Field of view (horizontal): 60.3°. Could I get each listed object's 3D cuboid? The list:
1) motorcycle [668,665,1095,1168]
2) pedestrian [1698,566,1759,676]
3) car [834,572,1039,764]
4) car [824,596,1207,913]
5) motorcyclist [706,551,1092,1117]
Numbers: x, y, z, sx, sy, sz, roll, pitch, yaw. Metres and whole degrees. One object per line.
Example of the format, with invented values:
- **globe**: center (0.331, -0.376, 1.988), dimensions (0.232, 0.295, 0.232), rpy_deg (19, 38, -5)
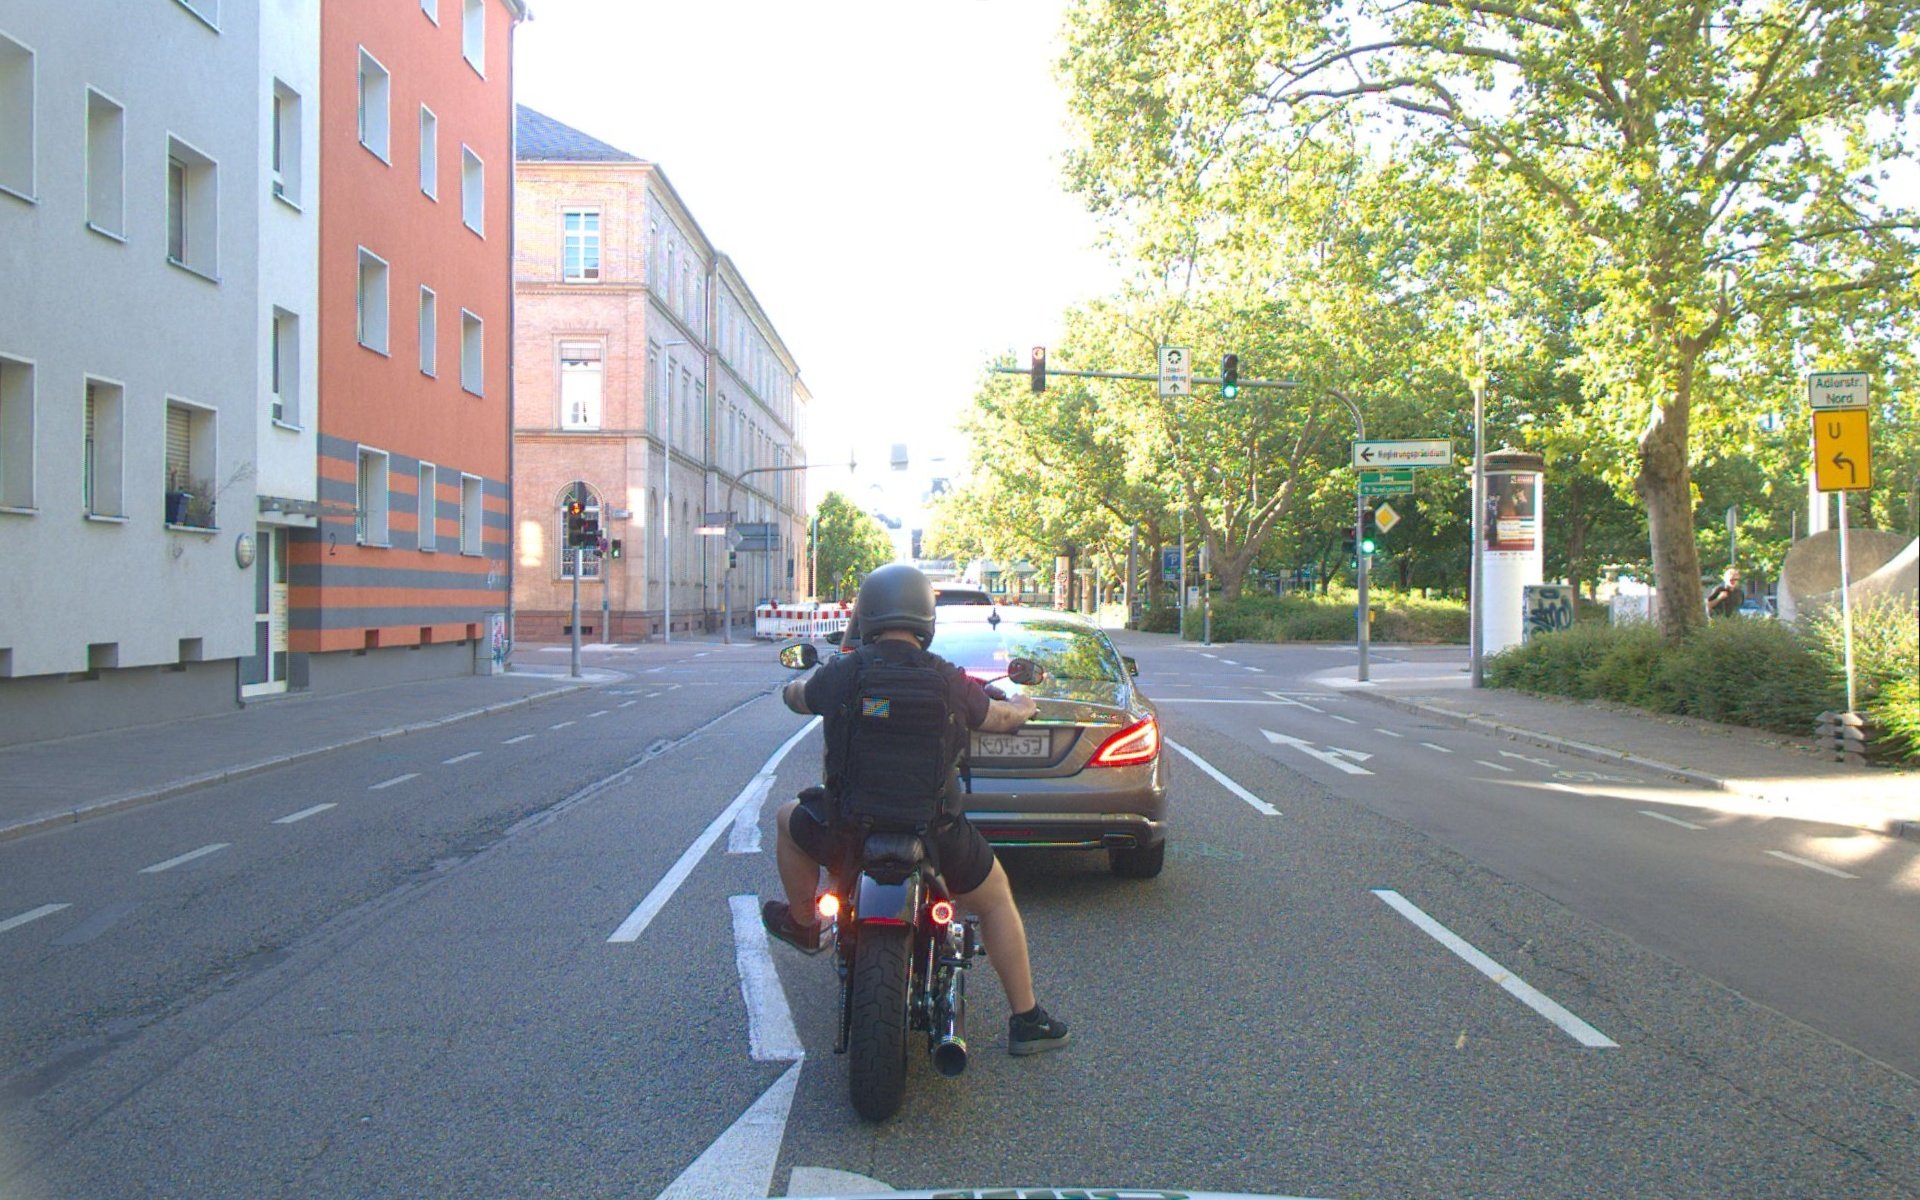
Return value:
- **motorcycle**: center (-0.125, 0.877, 5.508), dimensions (1.094, 1.228, 2.213), rpy_deg (1, 0, 5)
- **pedestrian**: center (12.880, 0.345, 27.740), dimensions (0.720, 1.809, 0.730), rpy_deg (1, -1, 7)
- **car**: center (-0.237, 0.628, 16.952), dimensions (1.825, 1.707, 3.999), rpy_deg (1, 0, -1)
- **car**: center (0.237, 0.736, 9.680), dimensions (1.785, 1.462, 3.805), rpy_deg (1, 0, -1)
- **motorcyclist**: center (-0.138, 0.666, 5.288), dimensions (1.076, 1.593, 1.072), rpy_deg (1, 0, 5)
